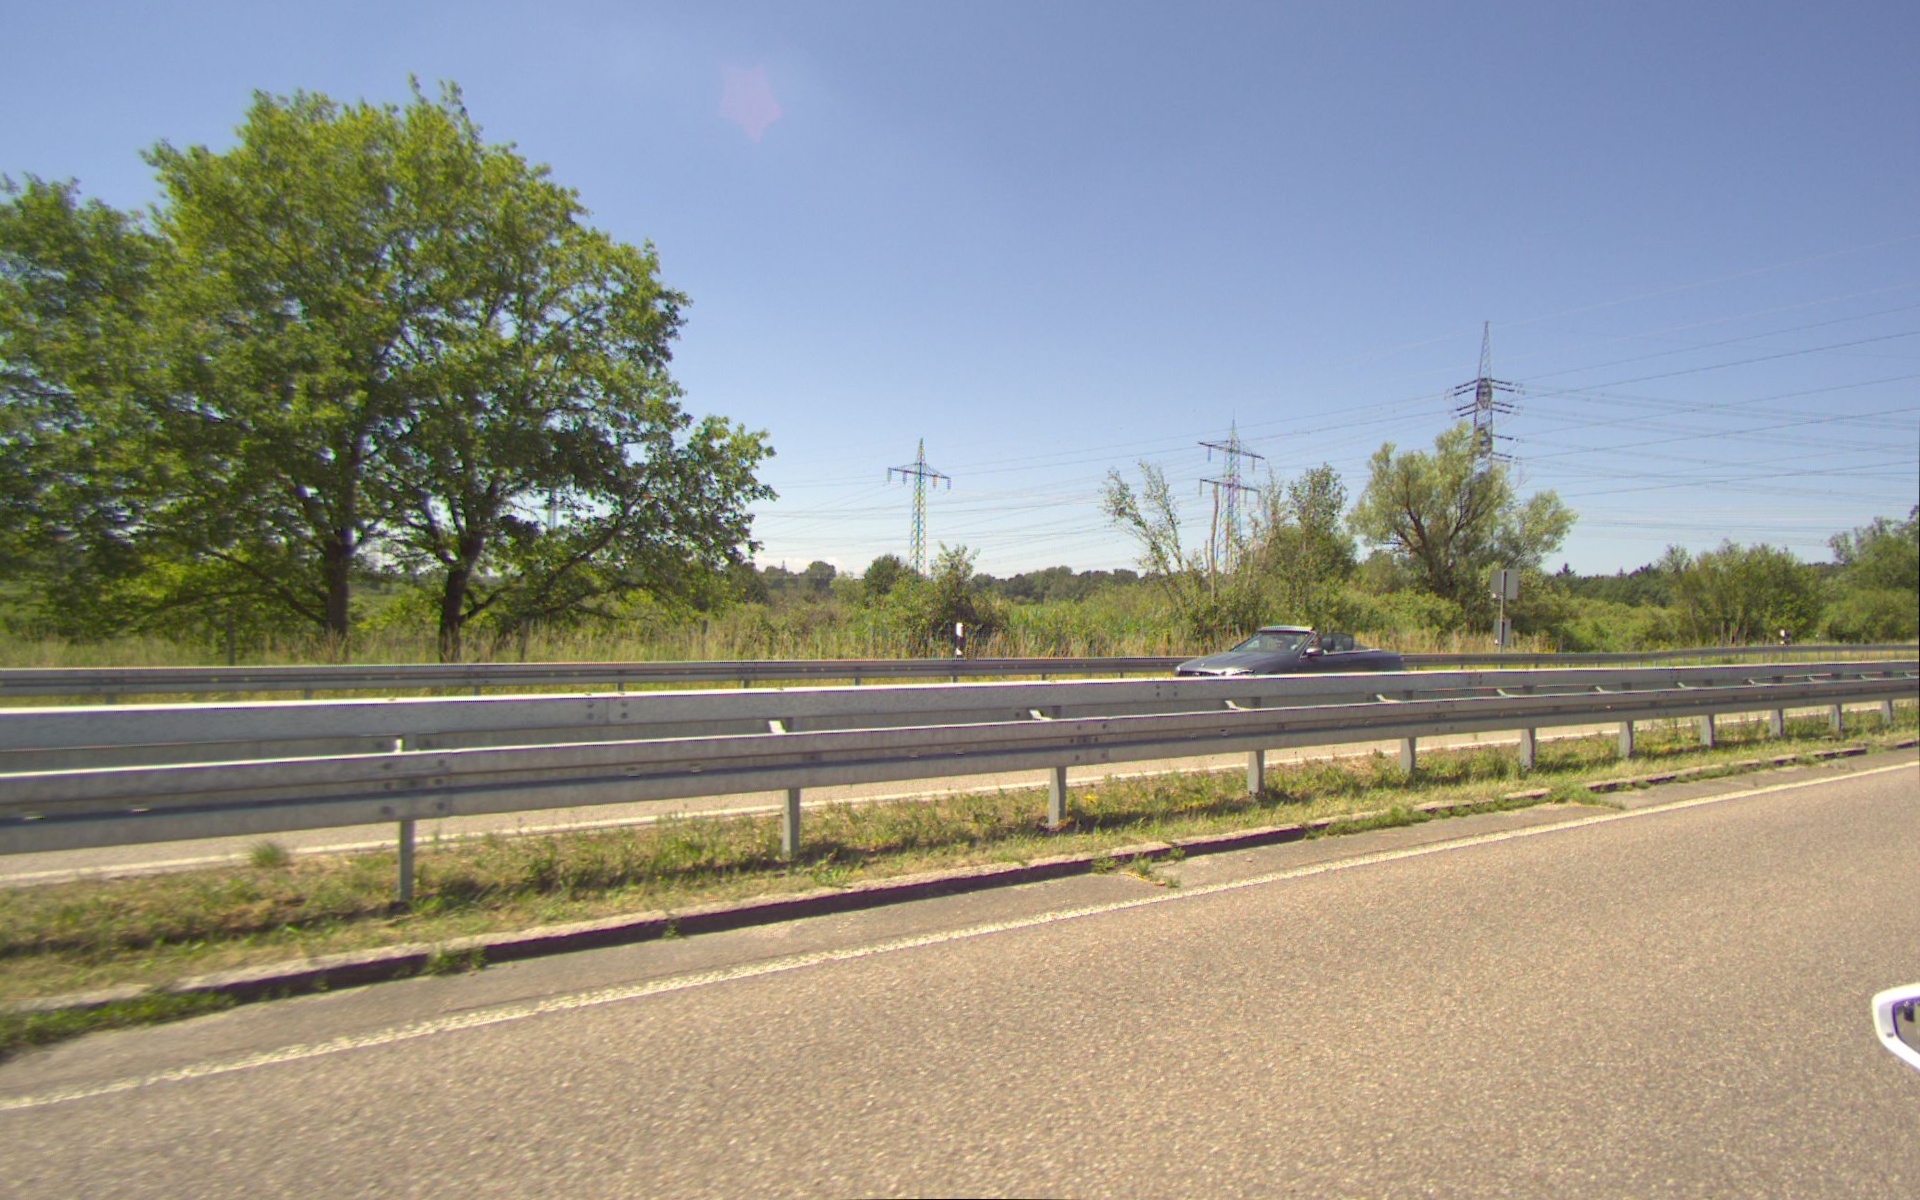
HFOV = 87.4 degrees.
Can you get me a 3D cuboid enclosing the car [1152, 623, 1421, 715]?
[{"bbox_3d":[5.716,1.124,17.443,4.604,1.403,1.915,1,-1,-31],"label":"car"}]
